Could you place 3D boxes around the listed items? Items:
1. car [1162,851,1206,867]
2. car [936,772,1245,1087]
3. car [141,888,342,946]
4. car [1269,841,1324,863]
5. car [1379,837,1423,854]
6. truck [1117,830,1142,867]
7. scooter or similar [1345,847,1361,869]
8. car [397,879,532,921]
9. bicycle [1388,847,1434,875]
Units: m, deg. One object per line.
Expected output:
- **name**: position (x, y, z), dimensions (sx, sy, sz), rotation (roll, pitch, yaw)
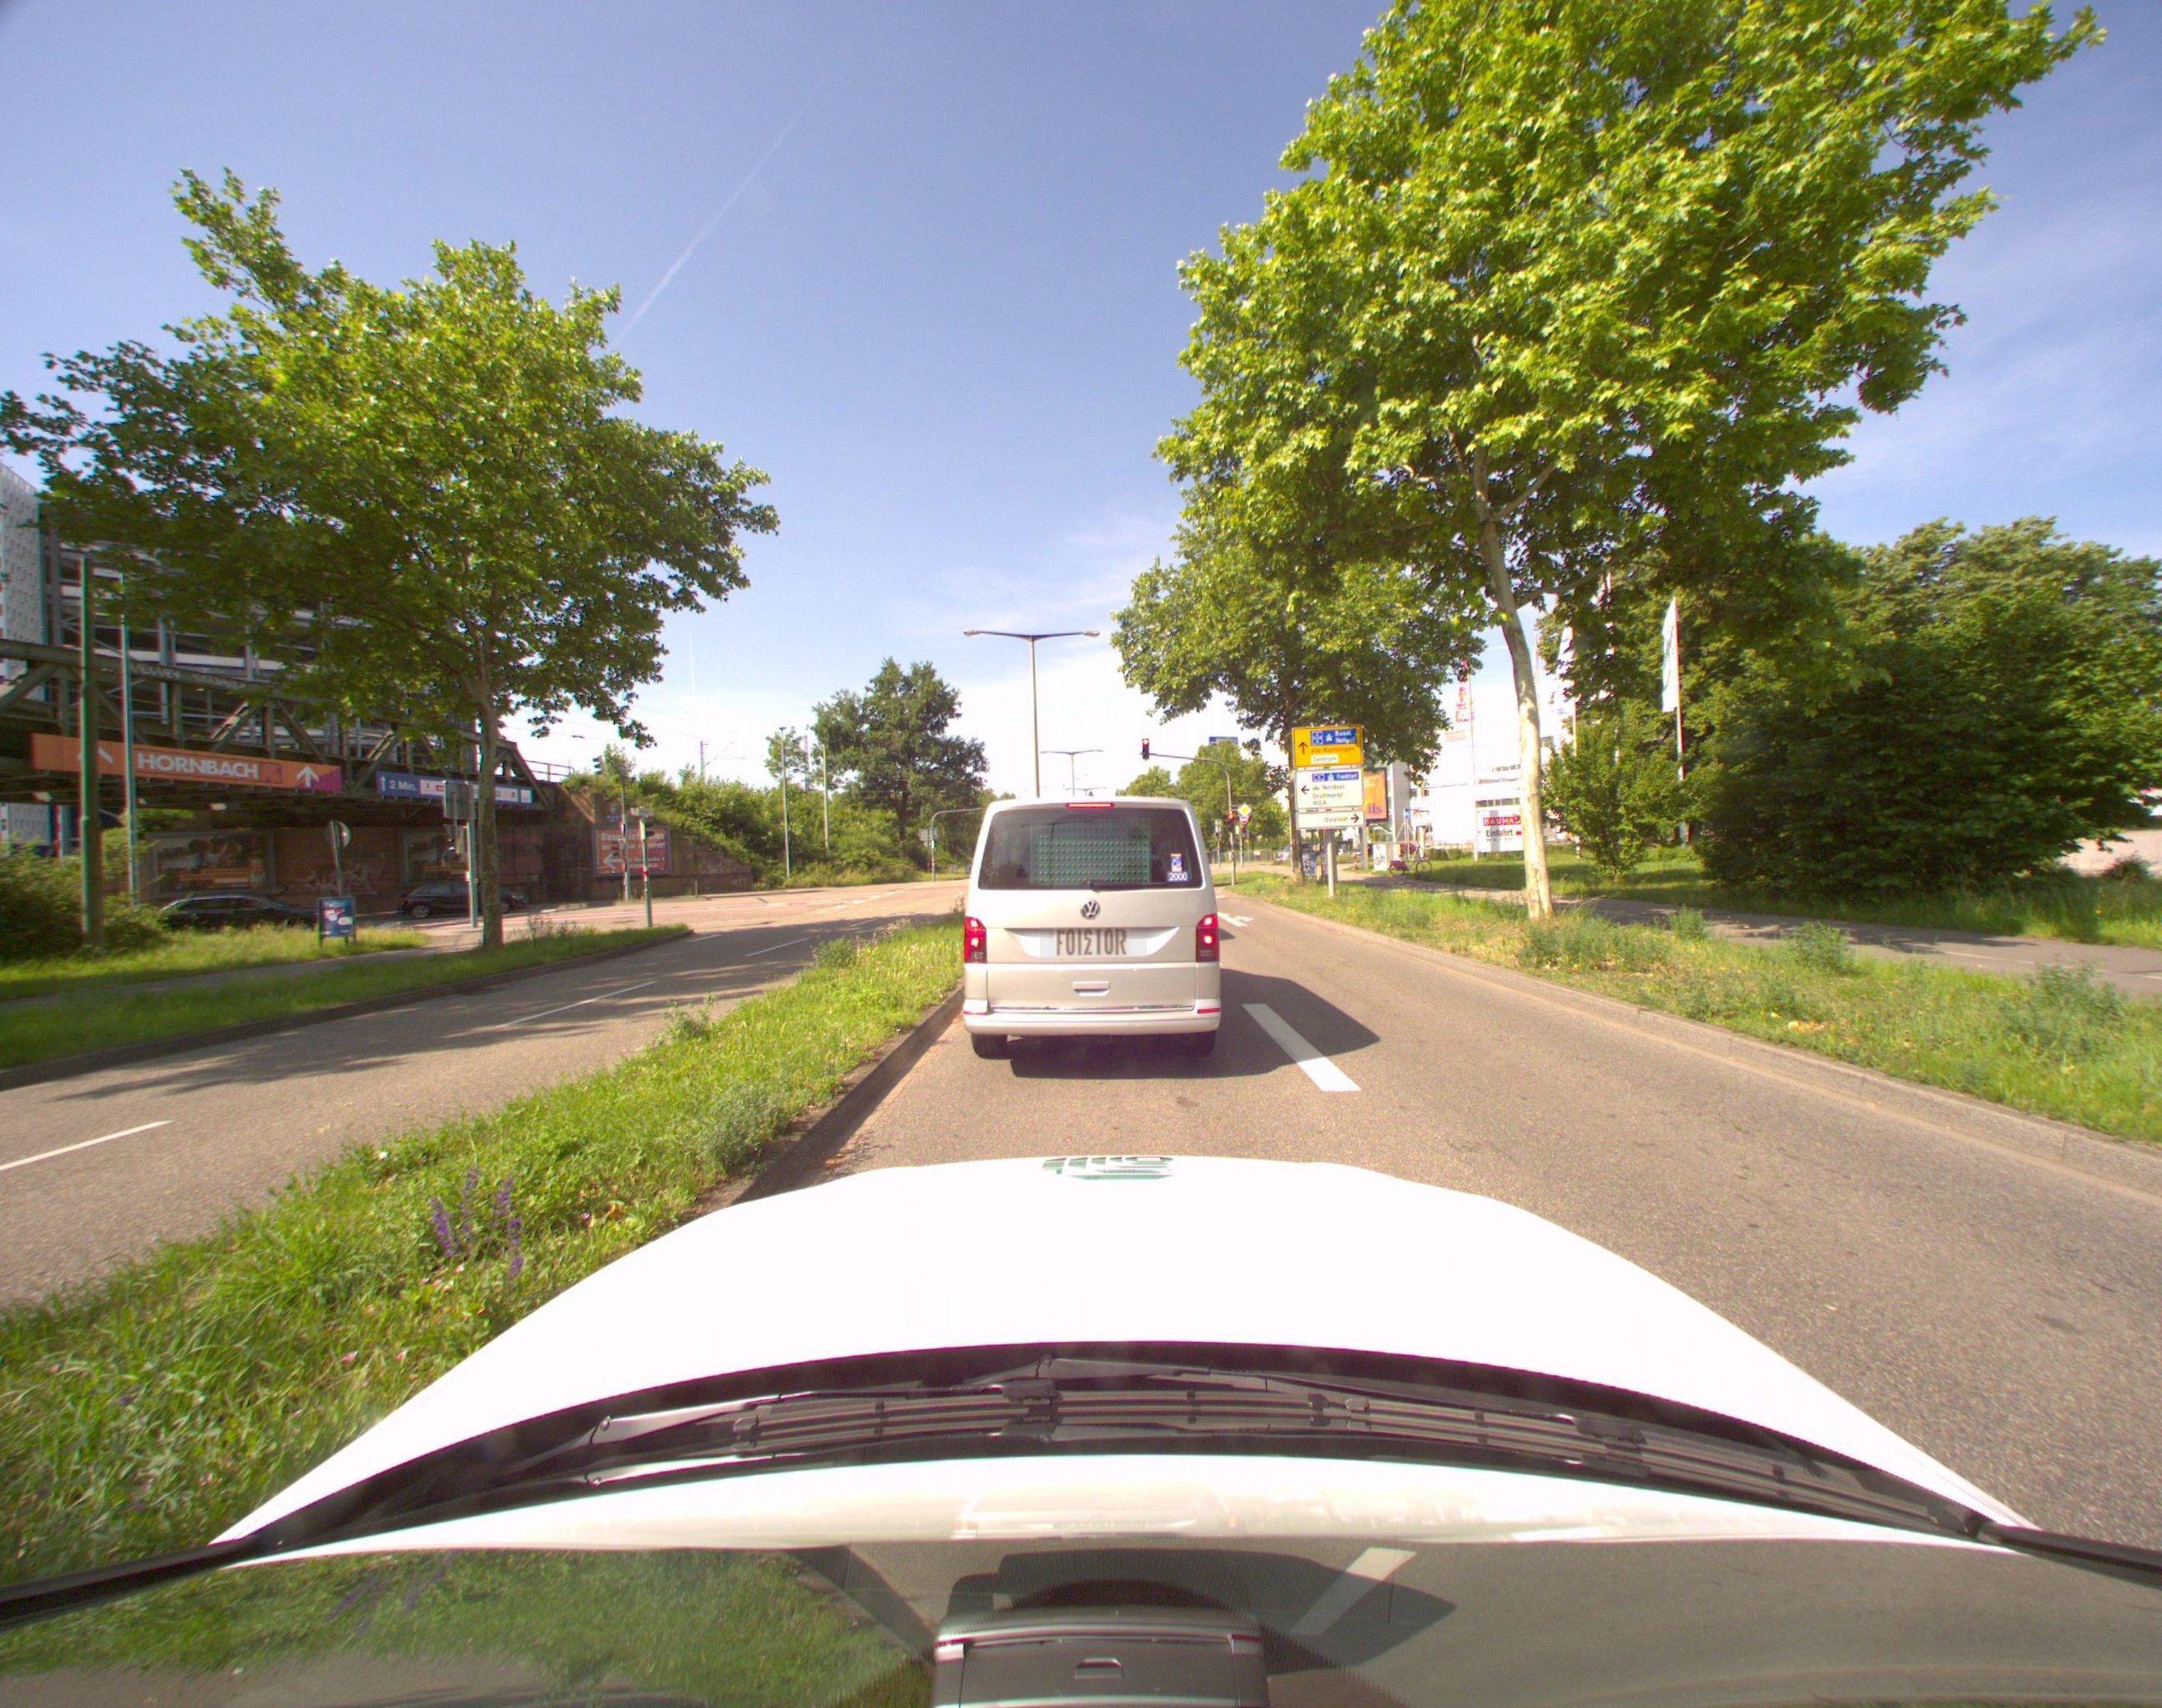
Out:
- **car**: position (11.128, 0.549, 88.226), dimensions (4.568, 1.444, 1.792), rotation (-3, 0, 44)
- **car**: position (0.140, 0.495, 7.762), dimensions (1.934, 1.971, 5.024), rotation (-2, 0, 2)
- **car**: position (-25.527, 1.867, 24.983), dimensions (3.959, 1.481, 1.804), rotation (-1, -1, -34)
- **car**: position (18.172, -0.188, 68.556), dimensions (4.646, 1.689, 1.895), rotation (-3, 0, -35)
- **car**: position (31.991, -0.844, 81.462), dimensions (4.646, 1.444, 1.762), rotation (-3, 0, -35)
- **truck**: position (5.497, -0.602, 93.490), dimensions (2.543, 3.957, 8.977), rotation (-2, 0, 2)
- **scooter or similar**: position (14.111, 0.202, 42.207), dimensions (0.423, 1.126, 1.124), rotation (-3, 0, 1)
- **car**: position (-25.626, 1.870, 34.047), dimensions (4.353, 1.395, 1.752), rotation (-3, 0, -35)
- **bicycle**: position (14.196, 0.294, 35.068), dimensions (1.771, 1.108, 0.506), rotation (-4, -1, 20)
